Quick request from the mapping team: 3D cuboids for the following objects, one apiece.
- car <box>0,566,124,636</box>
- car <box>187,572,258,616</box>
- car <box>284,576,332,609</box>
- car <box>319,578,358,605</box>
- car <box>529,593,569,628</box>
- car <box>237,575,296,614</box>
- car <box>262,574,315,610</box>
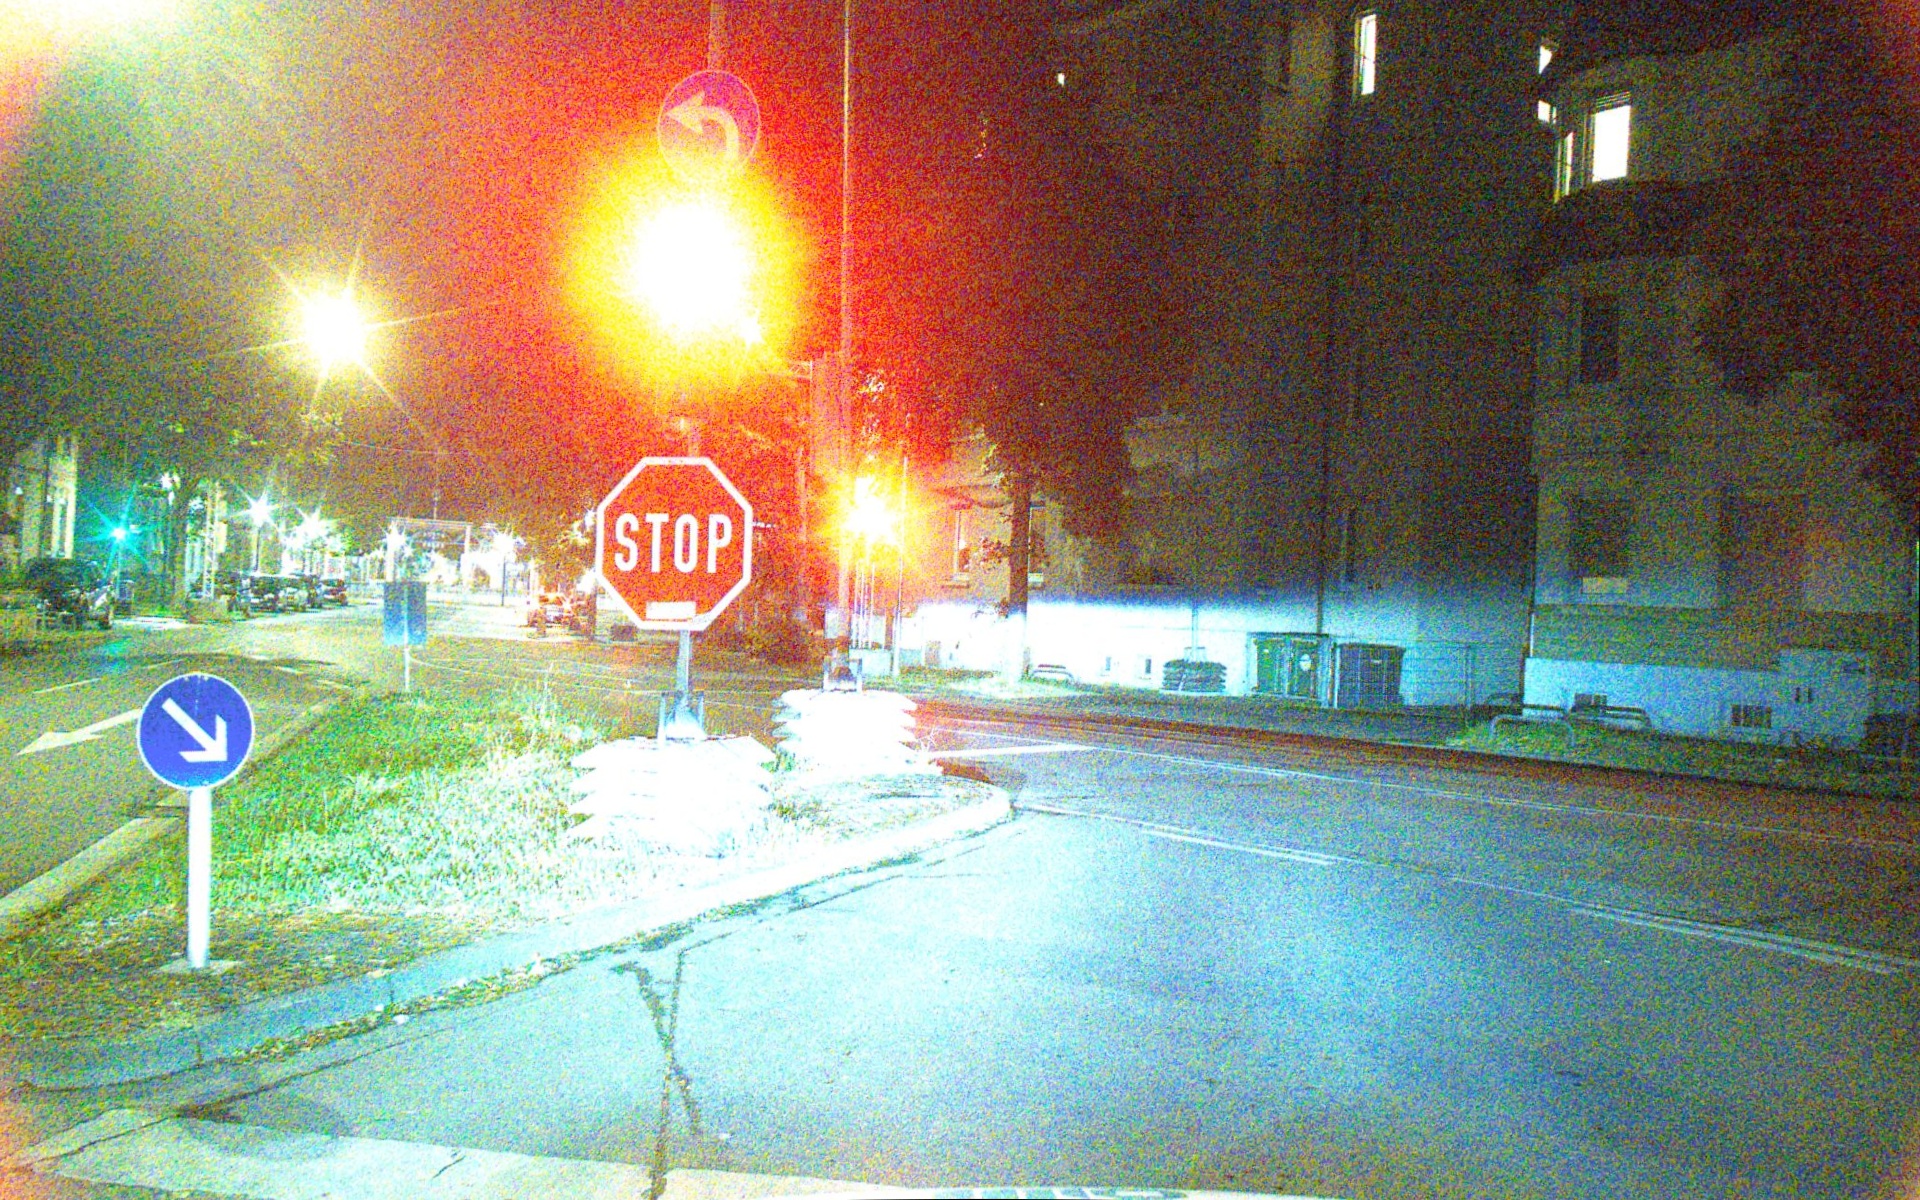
[{"bbox_3d":[-20.240,0.017,37.353,1.624,1.456,3.983,2,0,-15],"label":"car"},{"bbox_3d":[-25.843,-0.211,58.052,1.624,1.456,3.983,2,0,-15],"label":"car"},{"bbox_3d":[-30.916,-0.345,78.515,1.624,1.456,3.983,2,0,-15],"label":"car"},{"bbox_3d":[-34.446,-0.471,91.733,1.624,1.456,3.983,2,0,-15],"label":"car"},{"bbox_3d":[-17.789,0.435,71.610,1.623,1.456,3.985,2,0,-14],"label":"car"},{"bbox_3d":[-27.673,-0.210,66.084,1.624,1.456,3.983,2,0,-15],"label":"car"},{"bbox_3d":[-29.234,-0.347,72.088,1.624,1.456,3.983,2,0,-15],"label":"car"}]
